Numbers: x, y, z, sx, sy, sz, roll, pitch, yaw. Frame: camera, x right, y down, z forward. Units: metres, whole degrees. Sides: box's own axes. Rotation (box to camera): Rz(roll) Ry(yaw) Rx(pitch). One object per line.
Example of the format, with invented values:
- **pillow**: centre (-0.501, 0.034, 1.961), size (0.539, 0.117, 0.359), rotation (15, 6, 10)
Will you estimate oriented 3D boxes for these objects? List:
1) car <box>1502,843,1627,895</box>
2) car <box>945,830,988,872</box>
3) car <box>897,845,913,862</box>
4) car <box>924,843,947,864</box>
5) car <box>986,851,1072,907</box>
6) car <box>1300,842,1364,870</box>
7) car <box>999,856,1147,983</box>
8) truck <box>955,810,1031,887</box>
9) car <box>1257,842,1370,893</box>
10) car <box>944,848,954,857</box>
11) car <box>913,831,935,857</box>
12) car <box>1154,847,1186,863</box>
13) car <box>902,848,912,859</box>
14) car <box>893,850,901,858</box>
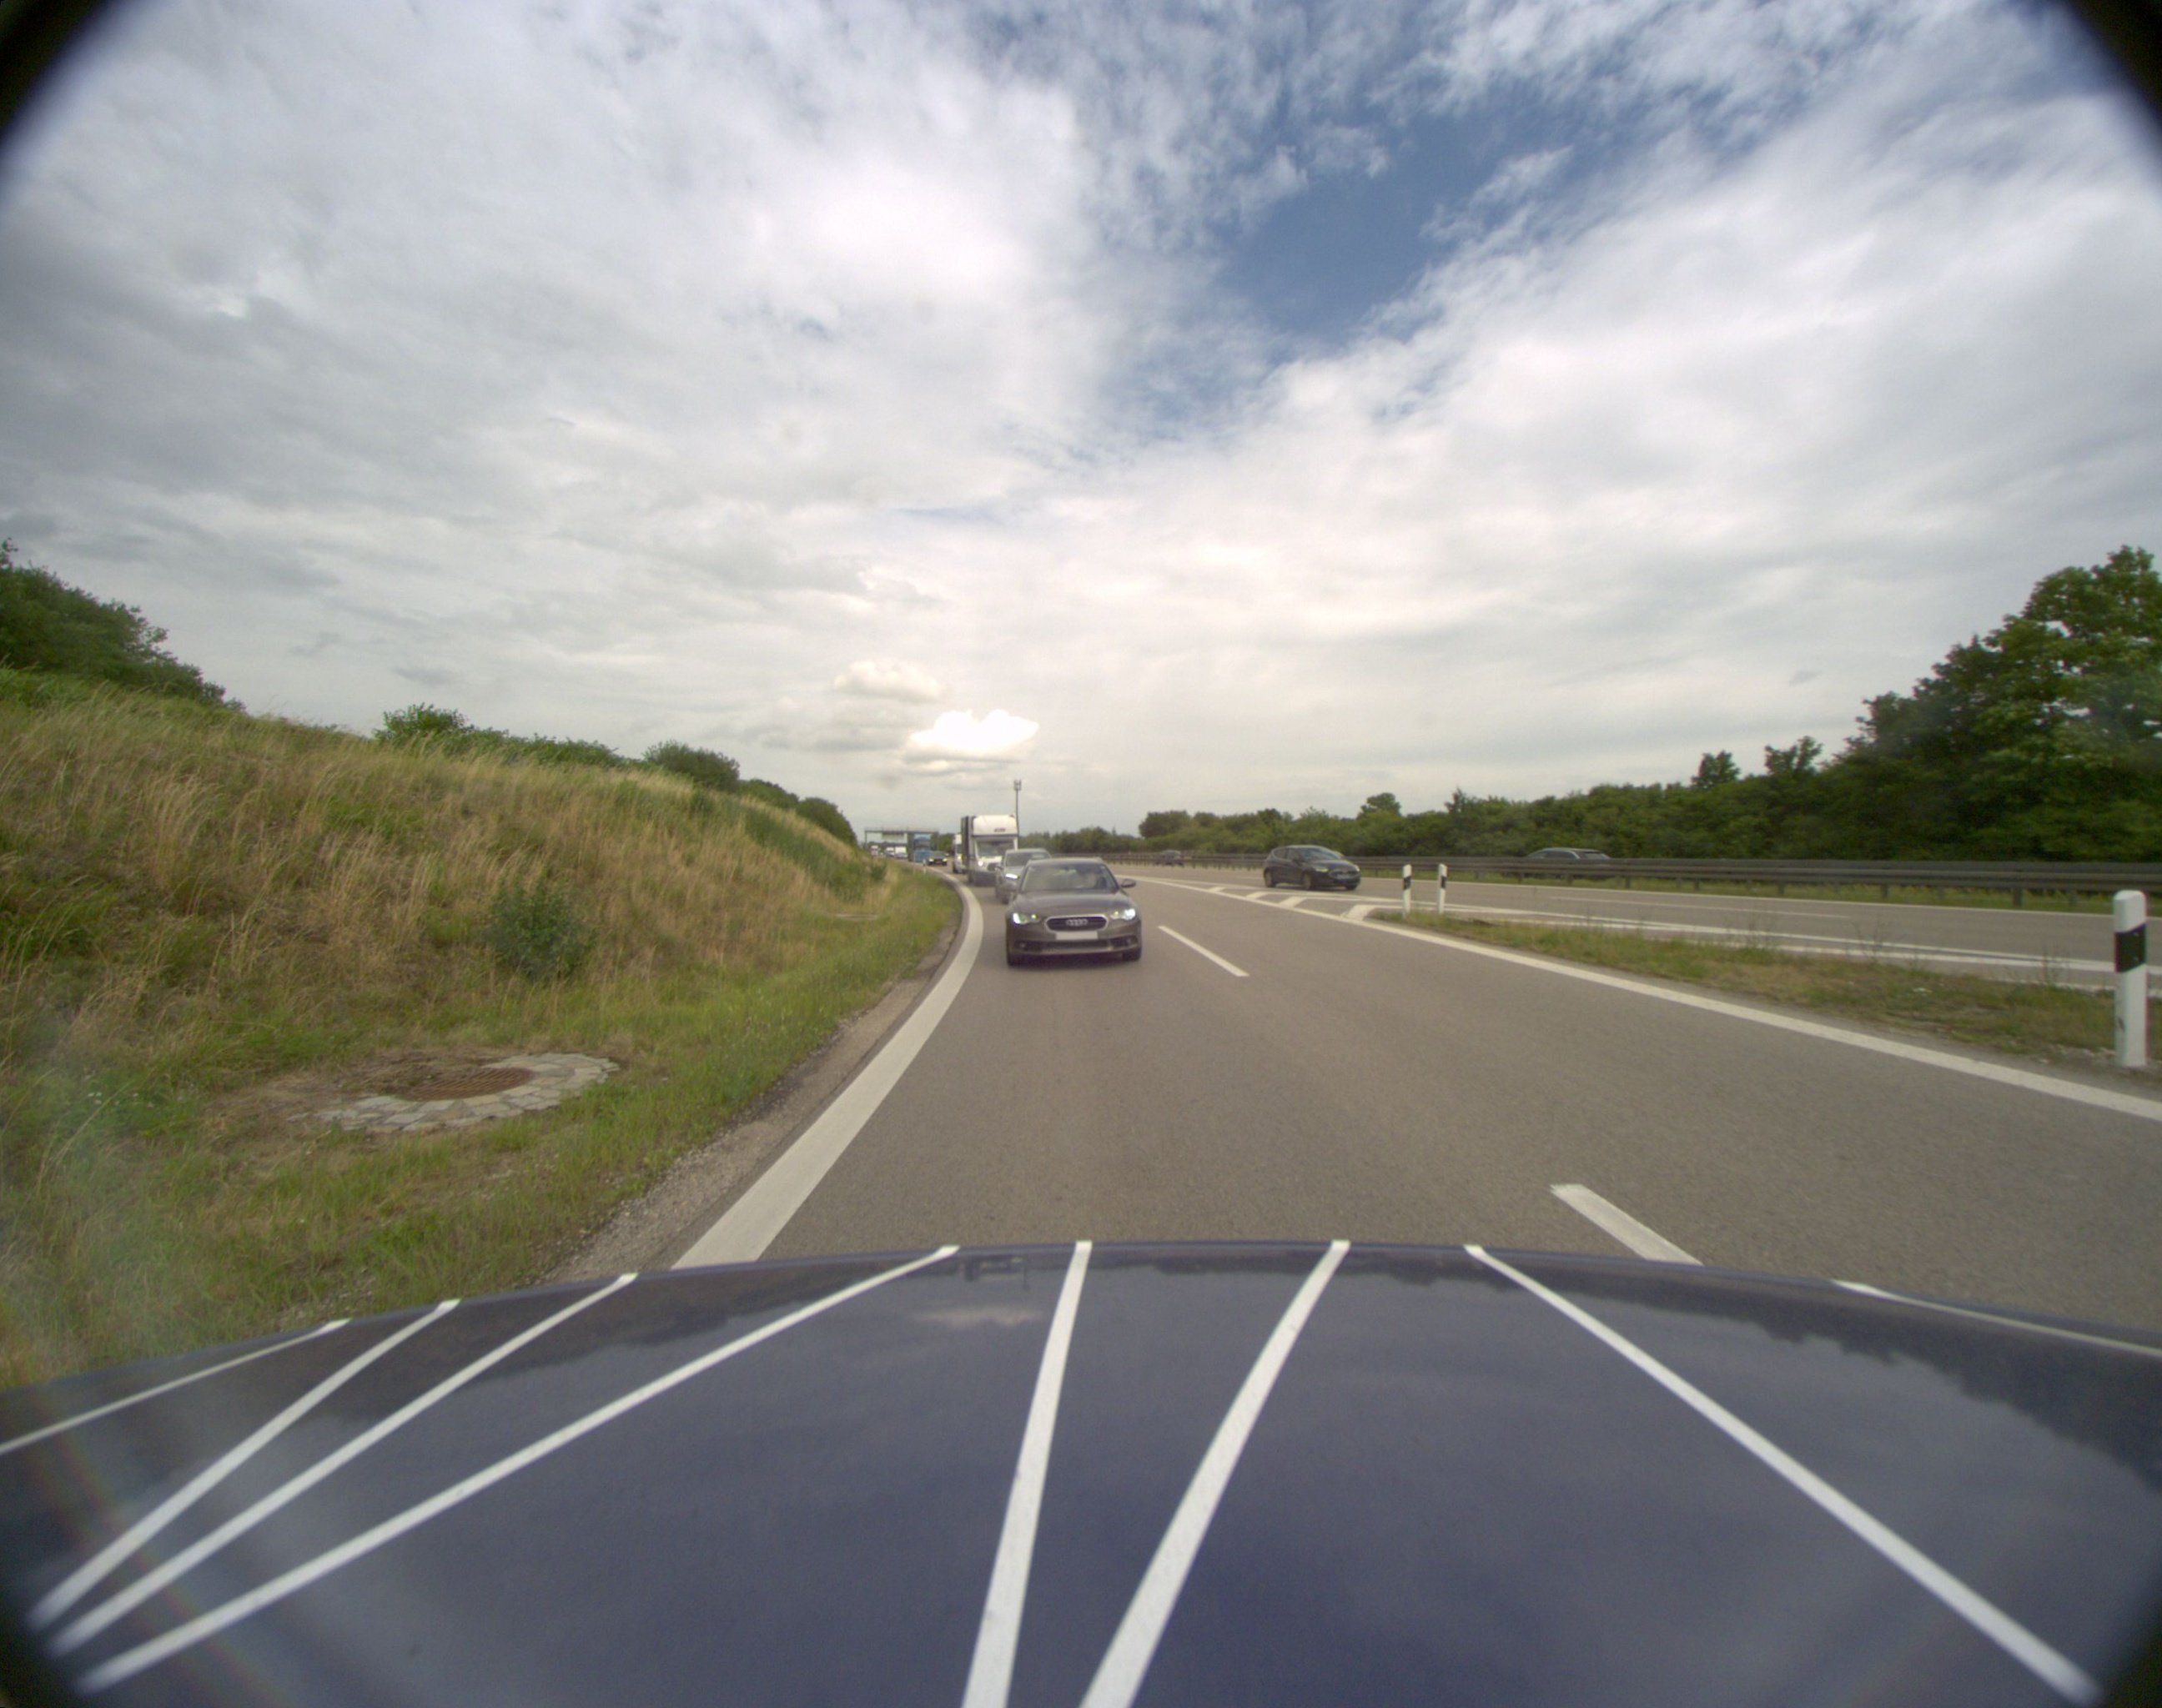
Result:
- **car**: centre (20.001, 0.560, 31.659), size (1.932, 2.002, 4.212), rotation (-1, 1, -14)
- **car**: centre (-8.121, -0.236, 53.318), size (2.023, 2.729, 6.917), rotation (-1, 1, -16)
- **car**: centre (-37.313, -0.203, 161.178), size (2.949, 3.447, 6.561), rotation (-1, 1, -16)
- **car**: centre (-14.932, -0.061, 77.867), size (2.001, 2.002, 3.994), rotation (-1, 1, -16)
- **car**: centre (-1.733, 0.709, 24.049), size (2.001, 1.567, 3.994), rotation (-1, 1, -14)
- **car**: centre (15.934, 0.114, 48.437), size (2.001, 1.674, 3.994), rotation (-1, 1, -16)
- **car**: centre (-0.180, 0.849, 11.755), size (1.849, 1.489, 4.027), rotation (-2, 1, -2)
- **truck**: centre (-4.303, -0.278, 35.832), size (2.451, 3.217, 7.181), rotation (-1, 1, -15)
- **car**: centre (7.601, 0.386, 25.271), size (1.717, 1.546, 3.994), rotation (-1, 1, -15)
- **car**: centre (-30.999, -0.376, 178.438), size (2.001, 2.002, 3.994), rotation (-1, 1, -14)
- **car**: centre (-22.825, -1.428, 110.103), size (2.507, 3.689, 7.690), rotation (-1, 1, -16)
- **car**: centre (9.644, 0.063, 82.699), size (2.001, 1.652, 4.558), rotation (-1, 1, -15)
- **car**: centre (-35.353, -0.108, 154.265), size (1.932, 2.020, 3.994), rotation (-1, 1, -15)
- **car**: centre (-51.505, 0.061, 212.821), size (2.001, 2.002, 3.994), rotation (-3, 2, -16)
